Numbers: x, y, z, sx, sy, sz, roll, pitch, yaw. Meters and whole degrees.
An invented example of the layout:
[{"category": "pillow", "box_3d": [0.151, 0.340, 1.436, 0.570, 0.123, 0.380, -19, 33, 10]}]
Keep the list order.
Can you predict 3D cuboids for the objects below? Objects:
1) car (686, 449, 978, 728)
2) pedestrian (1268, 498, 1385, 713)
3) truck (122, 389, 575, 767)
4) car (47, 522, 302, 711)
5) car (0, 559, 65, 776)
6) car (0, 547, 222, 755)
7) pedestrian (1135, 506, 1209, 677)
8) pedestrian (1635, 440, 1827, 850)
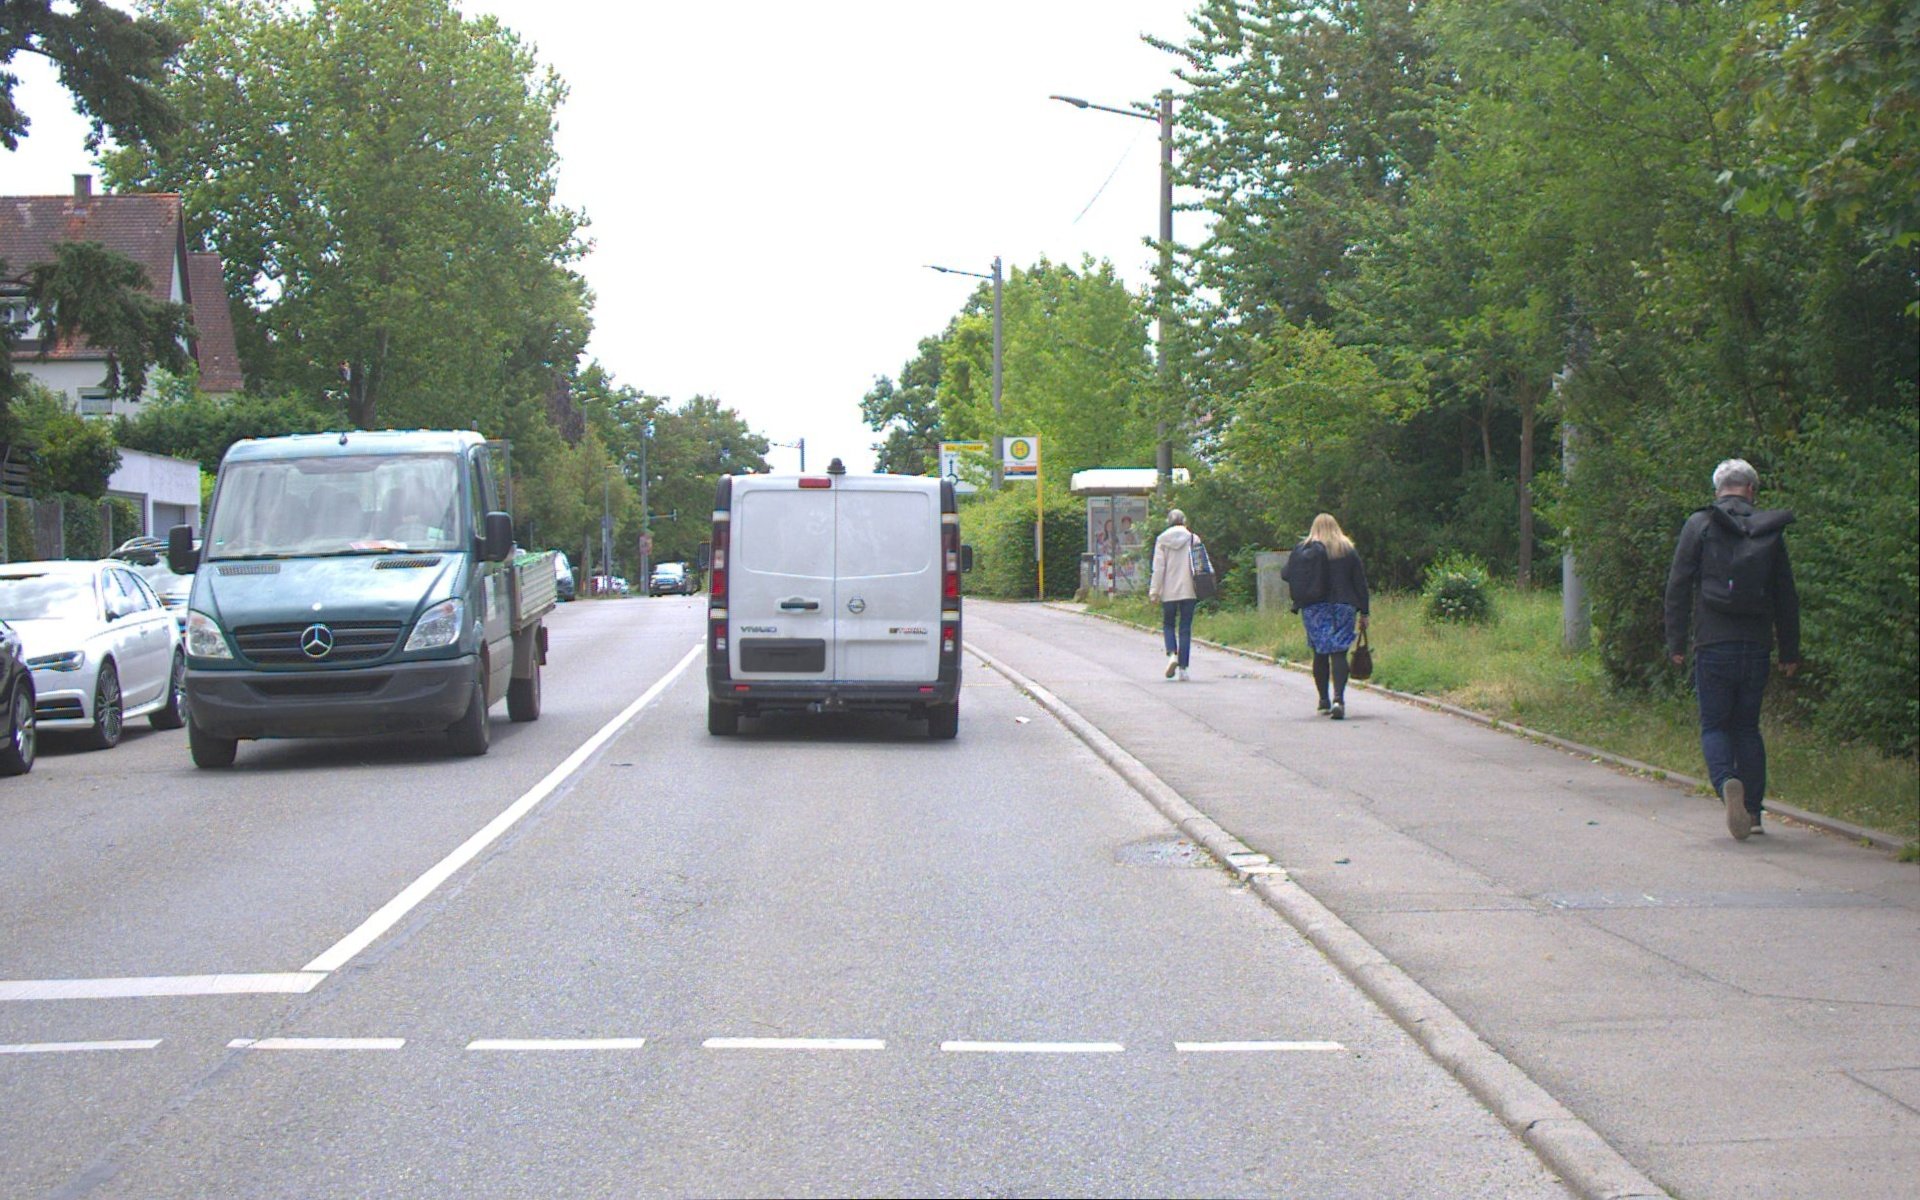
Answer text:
[{"category": "car", "box_3d": [-0.982, -0.121, 26.761, 2.034, 1.939, 4.994, 1, 1, -2]}, {"category": "pedestrian", "box_3d": [2.865, 0.037, 26.933, 0.840, 1.653, 0.766, 1, 1, 2]}, {"category": "truck", "box_3d": [-4.329, -0.229, 25.646, 2.189, 2.363, 6.905, -2, 1, -1]}, {"category": "car", "box_3d": [-7.772, 0.100, 34.412, 1.626, 1.672, 4.584, -3, 2, -3]}, {"category": "car", "box_3d": [-7.187, 0.498, 22.052, 1.743, 1.405, 4.323, -2, 1, 0]}, {"category": "car", "box_3d": [-7.413, 0.359, 27.772, 1.805, 1.454, 5.069, -2, 1, -1]}, {"category": "pedestrian", "box_3d": [2.074, -0.090, 33.667, 0.686, 1.653, 0.690, 1, 1, 2]}, {"category": "pedestrian", "box_3d": [3.631, 0.201, 16.249, 0.745, 1.876, 0.801, 1, 1, 4]}]
